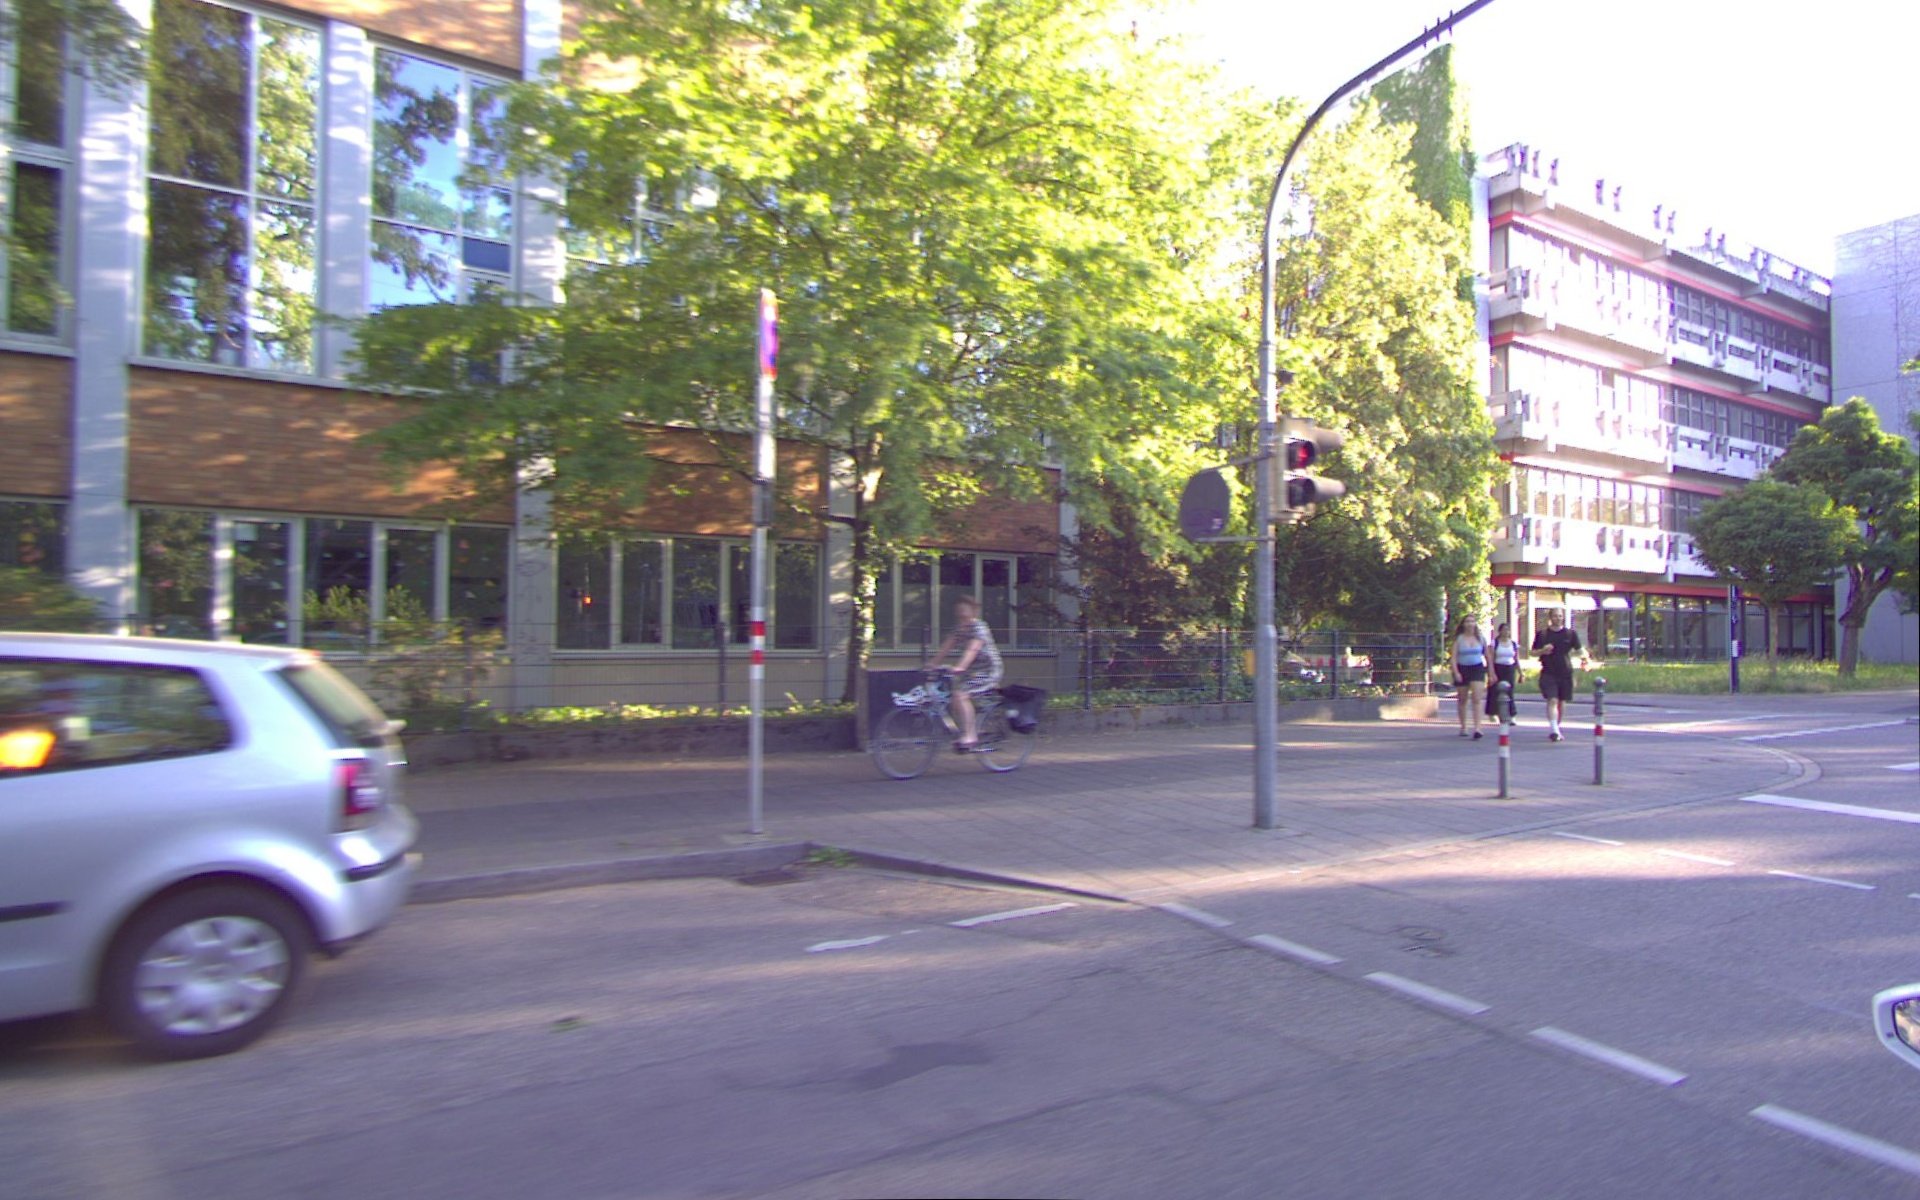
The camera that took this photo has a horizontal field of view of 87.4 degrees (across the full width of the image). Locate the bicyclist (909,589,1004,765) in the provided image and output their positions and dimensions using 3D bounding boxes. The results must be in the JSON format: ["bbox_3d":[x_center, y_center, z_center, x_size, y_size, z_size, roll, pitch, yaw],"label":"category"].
[{"bbox_3d":[-0.041,0.724,9.709,0.696,1.624,0.673,1,-1,-24],"label":"bicyclist"}]

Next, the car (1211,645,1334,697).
[{"bbox_3d":[9.536,2.155,30.787,1.671,1.476,3.239,4,-5,-39],"label":"car"}]

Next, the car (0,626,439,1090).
[{"bbox_3d":[-4.059,0.851,3.622,3.834,1.476,1.672,1,-3,-29],"label":"car"}]

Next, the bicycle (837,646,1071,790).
[{"bbox_3d":[-0.038,1.093,9.703,2.162,1.265,0.684,1,-1,-24],"label":"bicycle"}]

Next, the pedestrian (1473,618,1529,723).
[{"bbox_3d":[8.997,1.153,16.687,0.704,1.684,0.764,-1,-2,36],"label":"pedestrian"}]

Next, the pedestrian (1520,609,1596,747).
[{"bbox_3d":[8.359,1.062,14.036,0.809,1.847,0.954,-1,-2,36],"label":"pedestrian"}]

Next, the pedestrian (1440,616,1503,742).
[{"bbox_3d":[7.123,1.078,13.976,0.703,1.684,0.706,-1,-2,32],"label":"pedestrian"}]
